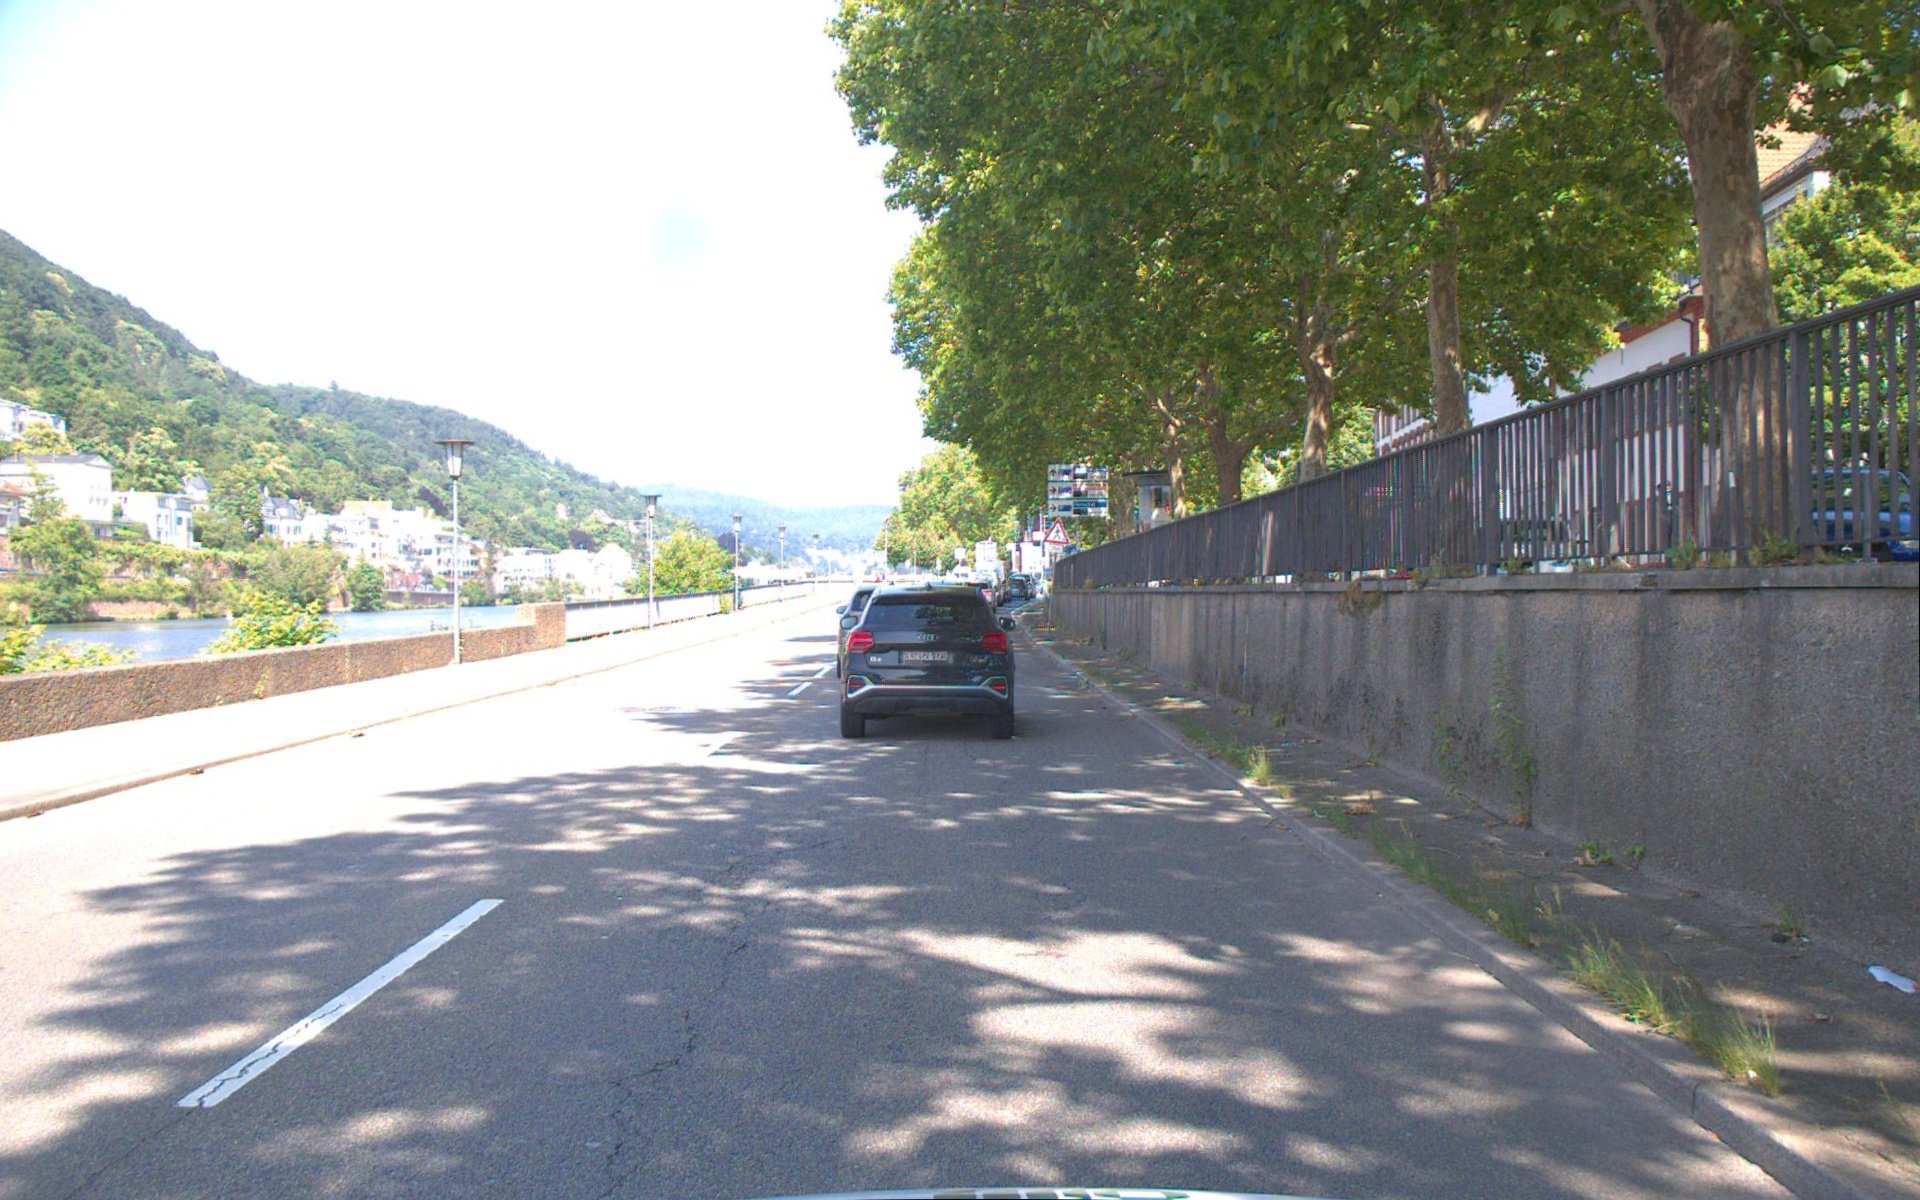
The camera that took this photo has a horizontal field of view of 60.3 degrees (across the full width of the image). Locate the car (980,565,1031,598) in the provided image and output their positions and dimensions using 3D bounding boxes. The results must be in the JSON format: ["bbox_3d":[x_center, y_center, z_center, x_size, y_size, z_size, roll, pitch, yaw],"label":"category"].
[{"bbox_3d":[3.052,-1.247,112.418,3.036,2.048,5.823,-3,1,-1],"label":"car"}]

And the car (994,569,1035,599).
[{"bbox_3d":[3.983,-1.207,122.668,2.608,2.048,5.823,-3,1,-1],"label":"car"}]

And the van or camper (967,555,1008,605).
[{"bbox_3d":[1.675,-1.208,100.646,2.262,2.896,4.246,-3,0,1],"label":"van or camper"}]

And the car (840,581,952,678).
[{"bbox_3d":[-1.064,0.454,28.407,1.791,1.537,3.999,0,1,-1],"label":"car"}]

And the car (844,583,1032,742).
[{"bbox_3d":[-0.255,0.581,17.813,1.791,1.512,3.999,0,1,-1],"label":"car"}]

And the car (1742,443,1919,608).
[{"bbox_3d":[9.125,-0.695,17.329,1.616,1.526,3.815,0,0,24],"label":"car"}]

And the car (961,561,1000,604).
[{"bbox_3d":[1.102,-0.938,91.360,1.953,2.207,3.999,-3,0,-1],"label":"car"}]

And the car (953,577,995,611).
[{"bbox_3d":[0.605,-0.287,74.495,1.791,1.469,3.999,0,1,-1],"label":"car"}]

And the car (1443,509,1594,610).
[{"bbox_3d":[9.097,-0.626,26.751,1.740,1.495,3.995,0,1,27],"label":"car"}]

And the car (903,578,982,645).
[{"bbox_3d":[-0.436,0.251,39.613,1.791,1.512,3.999,0,1,-1],"label":"car"}]
